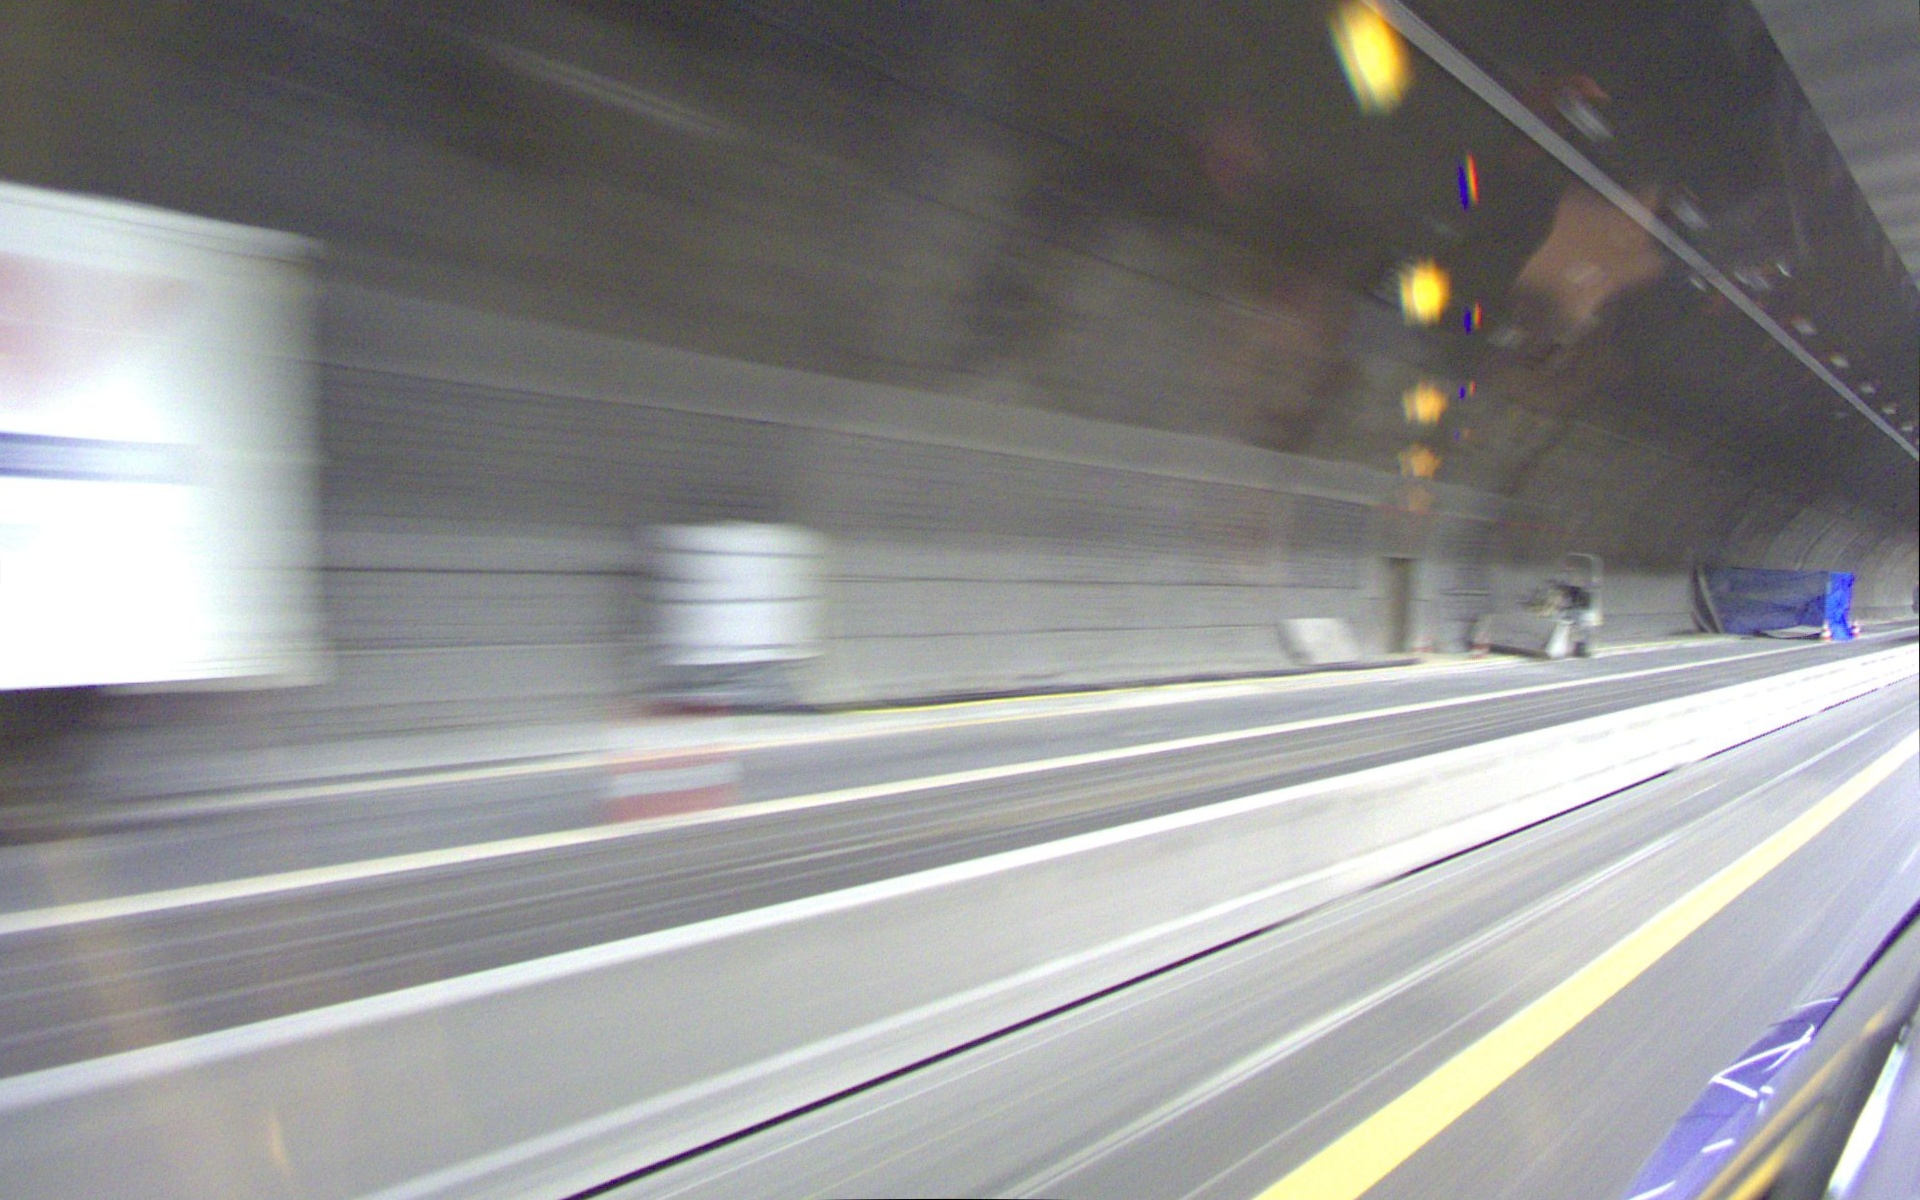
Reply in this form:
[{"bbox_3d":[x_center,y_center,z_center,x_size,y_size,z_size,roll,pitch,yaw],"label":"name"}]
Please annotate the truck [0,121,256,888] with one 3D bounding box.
[{"bbox_3d":[-7.467,-0.389,3.336,8.209,3.327,2.822,-1,0,-42],"label":"truck"}]
